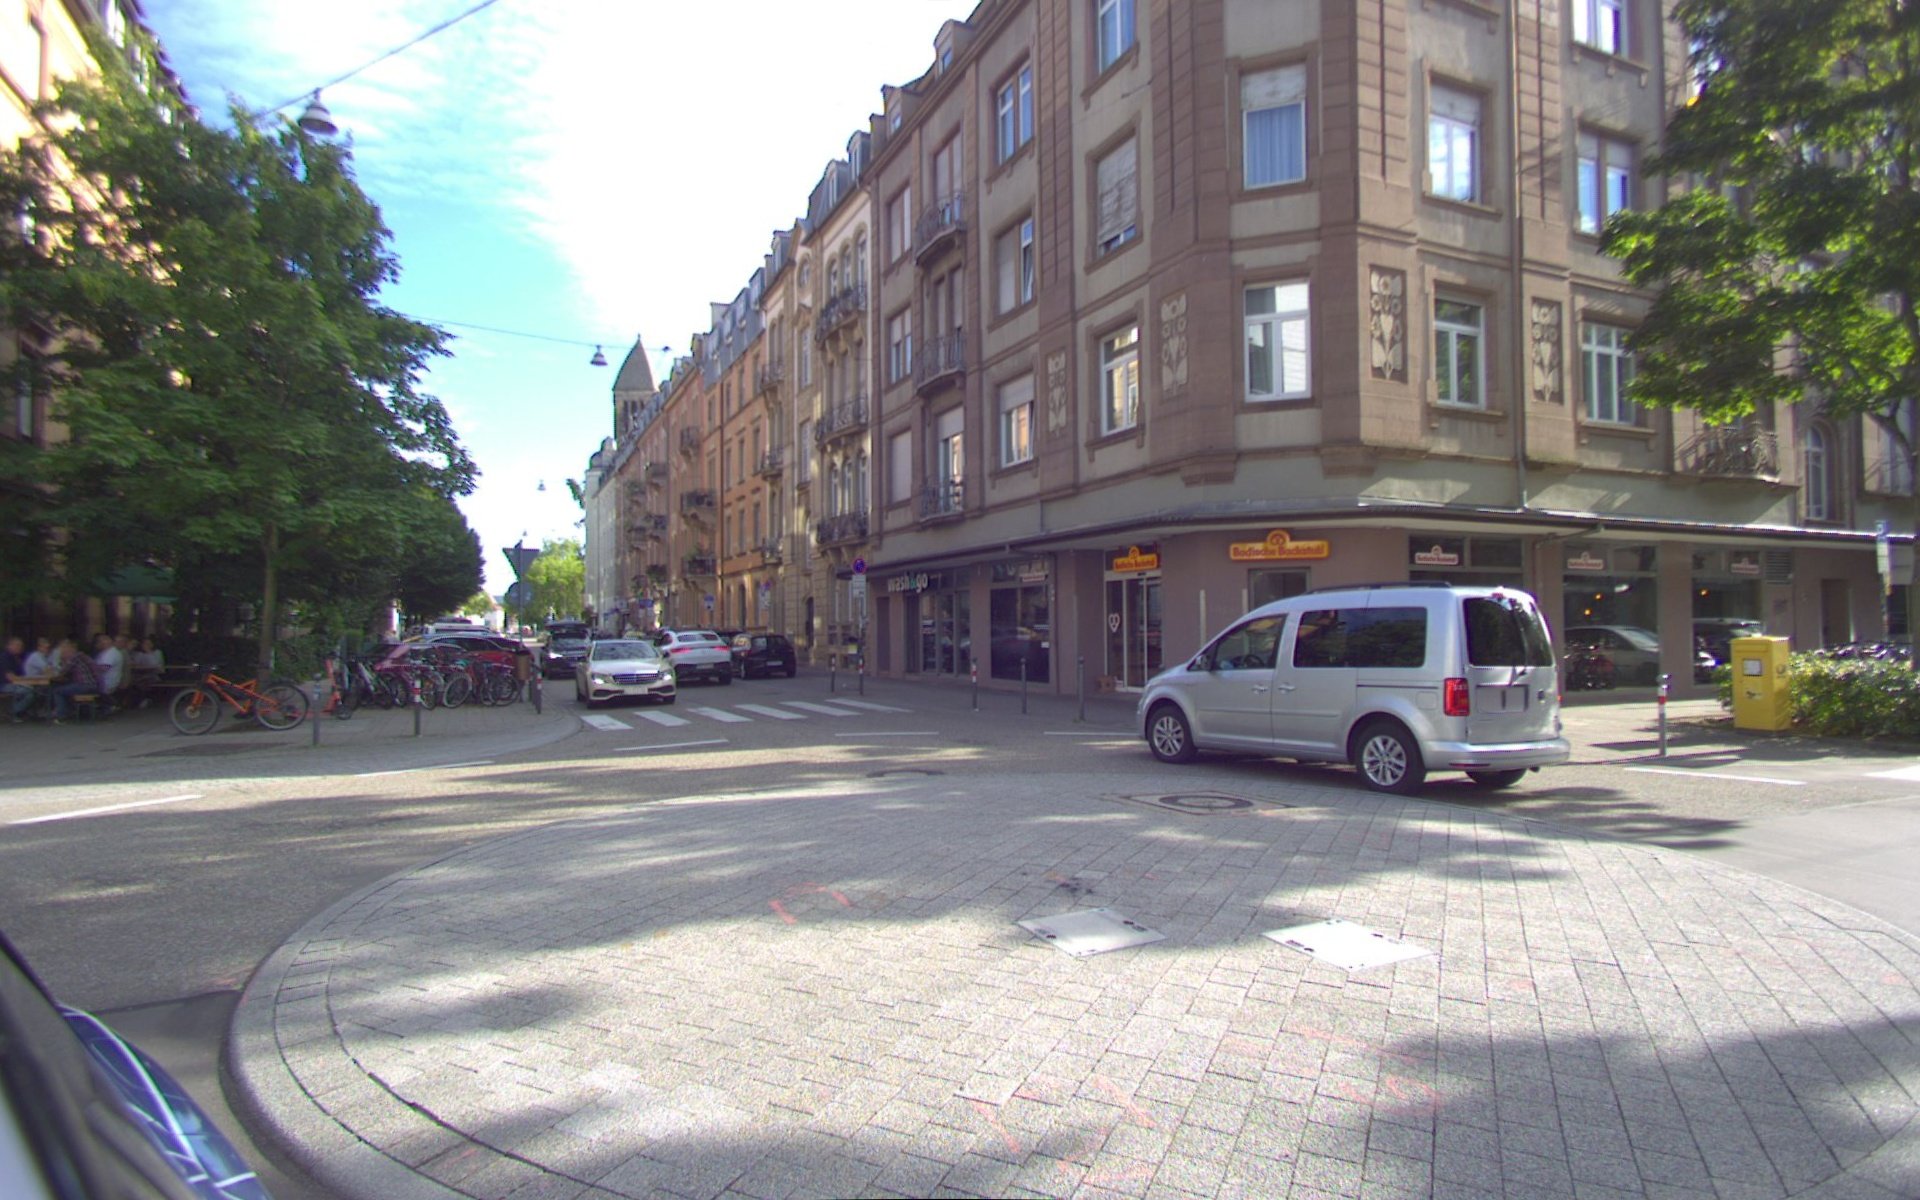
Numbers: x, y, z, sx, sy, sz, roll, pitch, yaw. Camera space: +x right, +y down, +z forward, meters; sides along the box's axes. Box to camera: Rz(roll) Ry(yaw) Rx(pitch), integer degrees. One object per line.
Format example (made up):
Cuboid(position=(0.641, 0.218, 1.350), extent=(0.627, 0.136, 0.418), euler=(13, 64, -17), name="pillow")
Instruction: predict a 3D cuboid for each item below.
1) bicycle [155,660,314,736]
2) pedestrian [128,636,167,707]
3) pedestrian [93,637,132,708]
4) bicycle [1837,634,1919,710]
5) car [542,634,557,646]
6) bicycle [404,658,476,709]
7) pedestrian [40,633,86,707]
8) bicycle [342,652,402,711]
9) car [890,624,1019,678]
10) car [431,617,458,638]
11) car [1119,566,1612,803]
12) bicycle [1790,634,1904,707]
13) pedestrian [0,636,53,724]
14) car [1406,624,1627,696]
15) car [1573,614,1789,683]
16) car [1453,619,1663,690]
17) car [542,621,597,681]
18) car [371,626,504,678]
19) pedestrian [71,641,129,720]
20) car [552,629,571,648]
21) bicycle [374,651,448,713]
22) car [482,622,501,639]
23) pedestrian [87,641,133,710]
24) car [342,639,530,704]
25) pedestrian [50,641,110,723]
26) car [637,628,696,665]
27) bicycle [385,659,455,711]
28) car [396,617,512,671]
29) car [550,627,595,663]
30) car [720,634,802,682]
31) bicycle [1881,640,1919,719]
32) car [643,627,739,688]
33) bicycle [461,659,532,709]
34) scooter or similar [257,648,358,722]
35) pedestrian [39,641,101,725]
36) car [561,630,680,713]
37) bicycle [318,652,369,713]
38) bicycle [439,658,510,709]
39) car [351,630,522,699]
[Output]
Cuboid(position=(-10.816, 1.440, 15.161), extent=(1.825, 1.043, 0.686), euler=(1, -2, -26), name="bicycle")
Cuboid(position=(-15.794, 1.376, 19.679), extent=(0.621, 1.337, 0.460), euler=(-1, -2, 41), name="pedestrian")
Cuboid(position=(-16.499, 1.401, 19.695), extent=(0.621, 1.337, 0.460), euler=(-1, -2, 41), name="pedestrian")
Cuboid(position=(15.077, 1.136, 16.360), extent=(2.389, 1.143, 0.480), euler=(1, -2, -28), name="bicycle")
Cuboid(position=(-50.837, 4.937, 125.306), extent=(1.598, 1.389, 3.773), euler=(0, -2, -25), name="car")
Cuboid(position=(-10.888, 1.723, 21.169), extent=(1.860, 0.993, 0.466), euler=(-1, -3, 34), name="bicycle")
Cuboid(position=(-16.500, 1.275, 18.611), extent=(0.621, 1.311, 0.541), euler=(-1, -2, 41), name="pedestrian")
Cuboid(position=(-11.682, 1.598, 20.080), extent=(1.674, 1.109, 0.469), euler=(-1, -4, 41), name="bicycle")
Cuboid(position=(-0.168, 1.716, 34.710), extent=(3.933, 1.633, 2.005), euler=(-1, -2, -34), name="car")
Cuboid(position=(-45.299, 2.420, 88.938), extent=(1.819, 1.747, 4.012), euler=(-1, -2, -31), name="car")
Cuboid(position=(3.666, 0.760, 10.061), extent=(1.803, 1.805, 4.344), euler=(2, -3, -29), name="car")
Cuboid(position=(14.806, 1.141, 16.870), extent=(2.389, 1.143, 0.581), euler=(1, -2, -28), name="bicycle")
Cuboid(position=(-15.421, 1.290, 16.487), extent=(0.709, 1.389, 0.668), euler=(-1, -1, 9), name="pedestrian")
Cuboid(position=(12.531, 1.337, 23.024), extent=(1.737, 1.441, 4.010), euler=(-1, -2, -35), name="car")
Cuboid(position=(17.964, 1.204, 25.388), extent=(1.737, 1.563, 4.010), euler=(-1, -2, -35), name="car")
Cuboid(position=(14.542, 1.311, 24.816), extent=(1.737, 1.563, 4.010), euler=(-1, -2, -35), name="car")
Cuboid(position=(-14.281, 1.826, 36.909), extent=(1.763, 2.079, 4.013), euler=(0, -2, -22), name="car")
Cuboid(position=(-17.082, 1.717, 33.187), extent=(1.513, 1.624, 3.538), euler=(-2, -4, 41), name="car")
Cuboid(position=(-15.023, 1.394, 17.696), extent=(0.717, 1.325, 0.609), euler=(0, -3, -37), name="pedestrian")
Cuboid(position=(-41.781, 4.024, 106.015), extent=(1.698, 1.947, 4.024), euler=(0, -2, -25), name="car")
Cuboid(position=(-10.956, 1.614, 20.171), extent=(1.834, 1.152, 0.470), euler=(-1, -3, 34), name="bicycle")
Cuboid(position=(-56.991, 3.730, 123.052), extent=(1.965, 1.903, 4.013), euler=(-1, -2, -23), name="car")
Cuboid(position=(-15.916, 1.402, 18.955), extent=(0.621, 1.241, 0.541), euler=(-1, -2, 41), name="pedestrian")
Cuboid(position=(-12.119, 1.656, 23.571), extent=(1.512, 1.391, 3.540), euler=(-2, -4, 39), name="car")
Cuboid(position=(-14.811, 1.366, 17.047), extent=(0.717, 1.325, 0.522), euler=(0, -3, -37), name="pedestrian")
Cuboid(position=(-13.831, 2.178, 47.533), extent=(1.732, 1.610, 4.355), euler=(-1, -2, -28), name="car")
Cuboid(position=(-11.013, 1.713, 20.623), extent=(1.834, 0.993, 0.413), euler=(-1, -3, 34), name="bicycle")
Cuboid(position=(-24.545, 2.097, 49.224), extent=(1.994, 2.441, 4.687), euler=(-3, -2, 32), name="car")
Cuboid(position=(-22.264, 2.581, 58.019), extent=(1.911, 1.894, 4.851), euler=(-1, -2, -26), name="car")
Cuboid(position=(-6.471, 1.836, 32.653), extent=(1.695, 1.379, 3.842), euler=(-1, -2, -25), name="car")
Cuboid(position=(15.329, 1.210, 15.879), extent=(2.390, 1.143, 0.480), euler=(0, -2, -28), name="bicycle")
Cuboid(position=(-8.109, 1.661, 30.186), extent=(1.965, 1.647, 4.859), euler=(0, -2, -25), name="car")
Cuboid(position=(-10.079, 1.804, 21.974), extent=(1.860, 0.993, 0.466), euler=(-1, -3, 34), name="bicycle")
Cuboid(position=(-10.973, 1.434, 17.043), extent=(1.274, 1.220, 0.556), euler=(0, -4, -3), name="scooter or similar")
Cuboid(position=(-14.570, 1.344, 16.580), extent=(0.717, 1.325, 0.522), euler=(0, -3, -37), name="pedestrian")
Cuboid(position=(-7.856, 1.574, 23.119), extent=(1.911, 1.609, 4.851), euler=(-1, -2, -26), name="car")
Cuboid(position=(-11.997, 1.577, 19.671), extent=(0.428, 1.109, 1.676), euler=(4, -4, -45), name="bicycle")
Cuboid(position=(-10.405, 1.769, 21.658), extent=(1.860, 0.993, 0.466), euler=(-1, -3, 34), name="bicycle")
Cuboid(position=(-13.290, 1.639, 25.832), extent=(1.513, 1.628, 3.538), euler=(-2, -4, 41), name="car")
